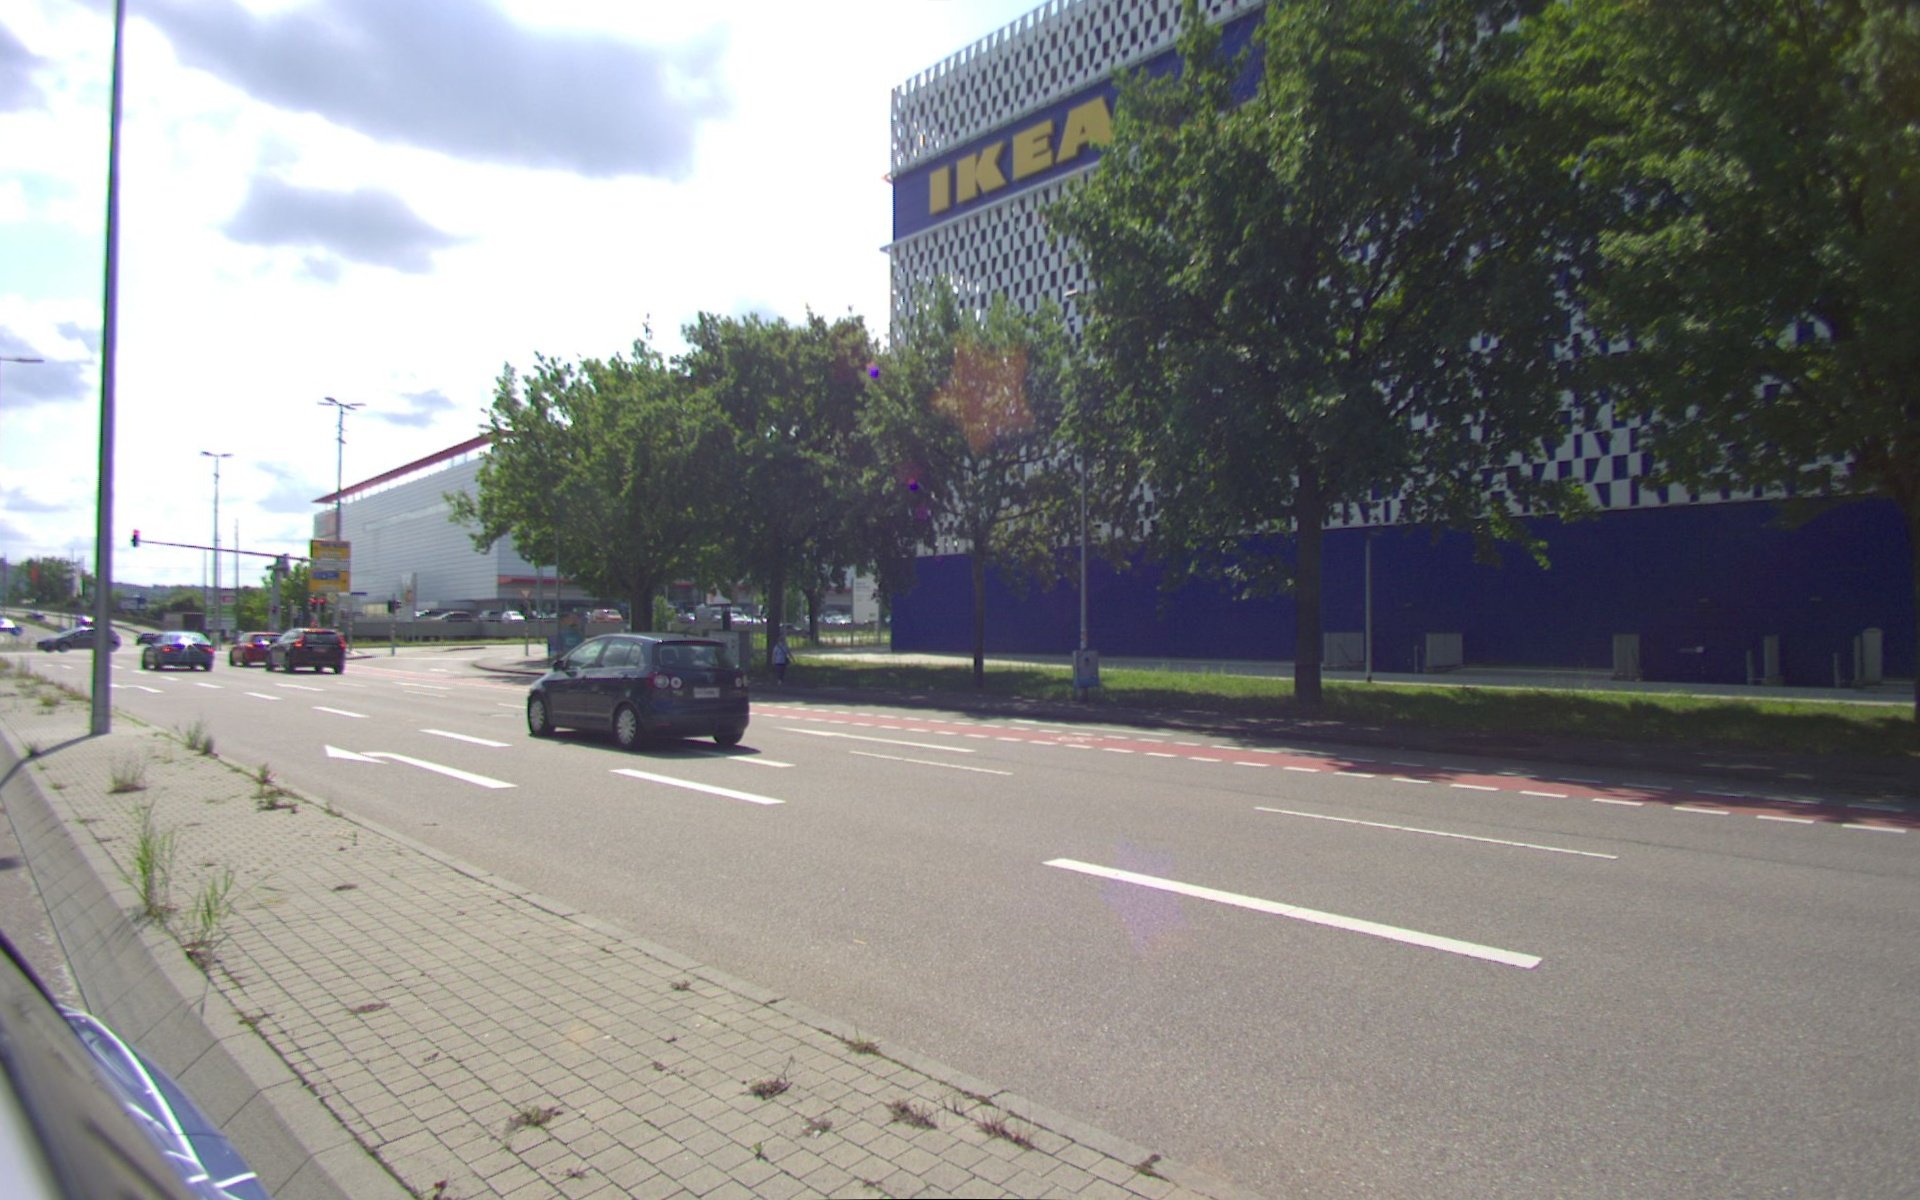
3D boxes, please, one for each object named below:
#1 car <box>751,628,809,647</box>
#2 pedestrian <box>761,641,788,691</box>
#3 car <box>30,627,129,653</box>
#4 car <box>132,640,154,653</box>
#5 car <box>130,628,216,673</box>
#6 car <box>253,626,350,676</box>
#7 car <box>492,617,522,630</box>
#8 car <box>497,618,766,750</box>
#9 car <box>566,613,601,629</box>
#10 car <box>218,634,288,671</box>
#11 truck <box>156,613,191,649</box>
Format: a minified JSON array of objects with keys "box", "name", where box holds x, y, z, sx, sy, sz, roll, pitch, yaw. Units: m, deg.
[{"box":[-14.880,3.098,83.784,1.897,1.567,4.520,-2,-2,44],"name":"car"},{"box":[-5.866,2.085,32.051,0.761,1.567,0.497,-2,-2,44],"name":"pedestrian"},{"box":[-53.058,2.403,61.053,1.600,1.542,4.228,-1,-2,28],"name":"car"},{"box":[-92.065,5.253,113.987,1.752,1.489,4.685,1,-3,-41],"name":"car"},{"box":[-29.617,1.884,38.018,4.821,1.560,1.753,-2,-5,43],"name":"car"},{"box":[-24.969,1.901,38.293,4.821,1.769,1.907,-2,-5,43],"name":"car"},{"box":[-55.663,2.932,124.436,1.926,1.482,4.425,1,-3,-45],"name":"car"},{"box":[-4.826,1.147,14.570,4.240,1.622,1.719,-2,-6,42],"name":"car"},{"box":[-45.398,2.490,122.022,4.178,1.763,1.894,-3,-3,35],"name":"car"},{"box":[-30.515,2.244,43.626,4.126,1.494,1.667,-2,-4,44],"name":"car"},{"box":[-96.187,3.819,123.806,3.170,4.058,9.090,0,-3,-37],"name":"truck"}]
